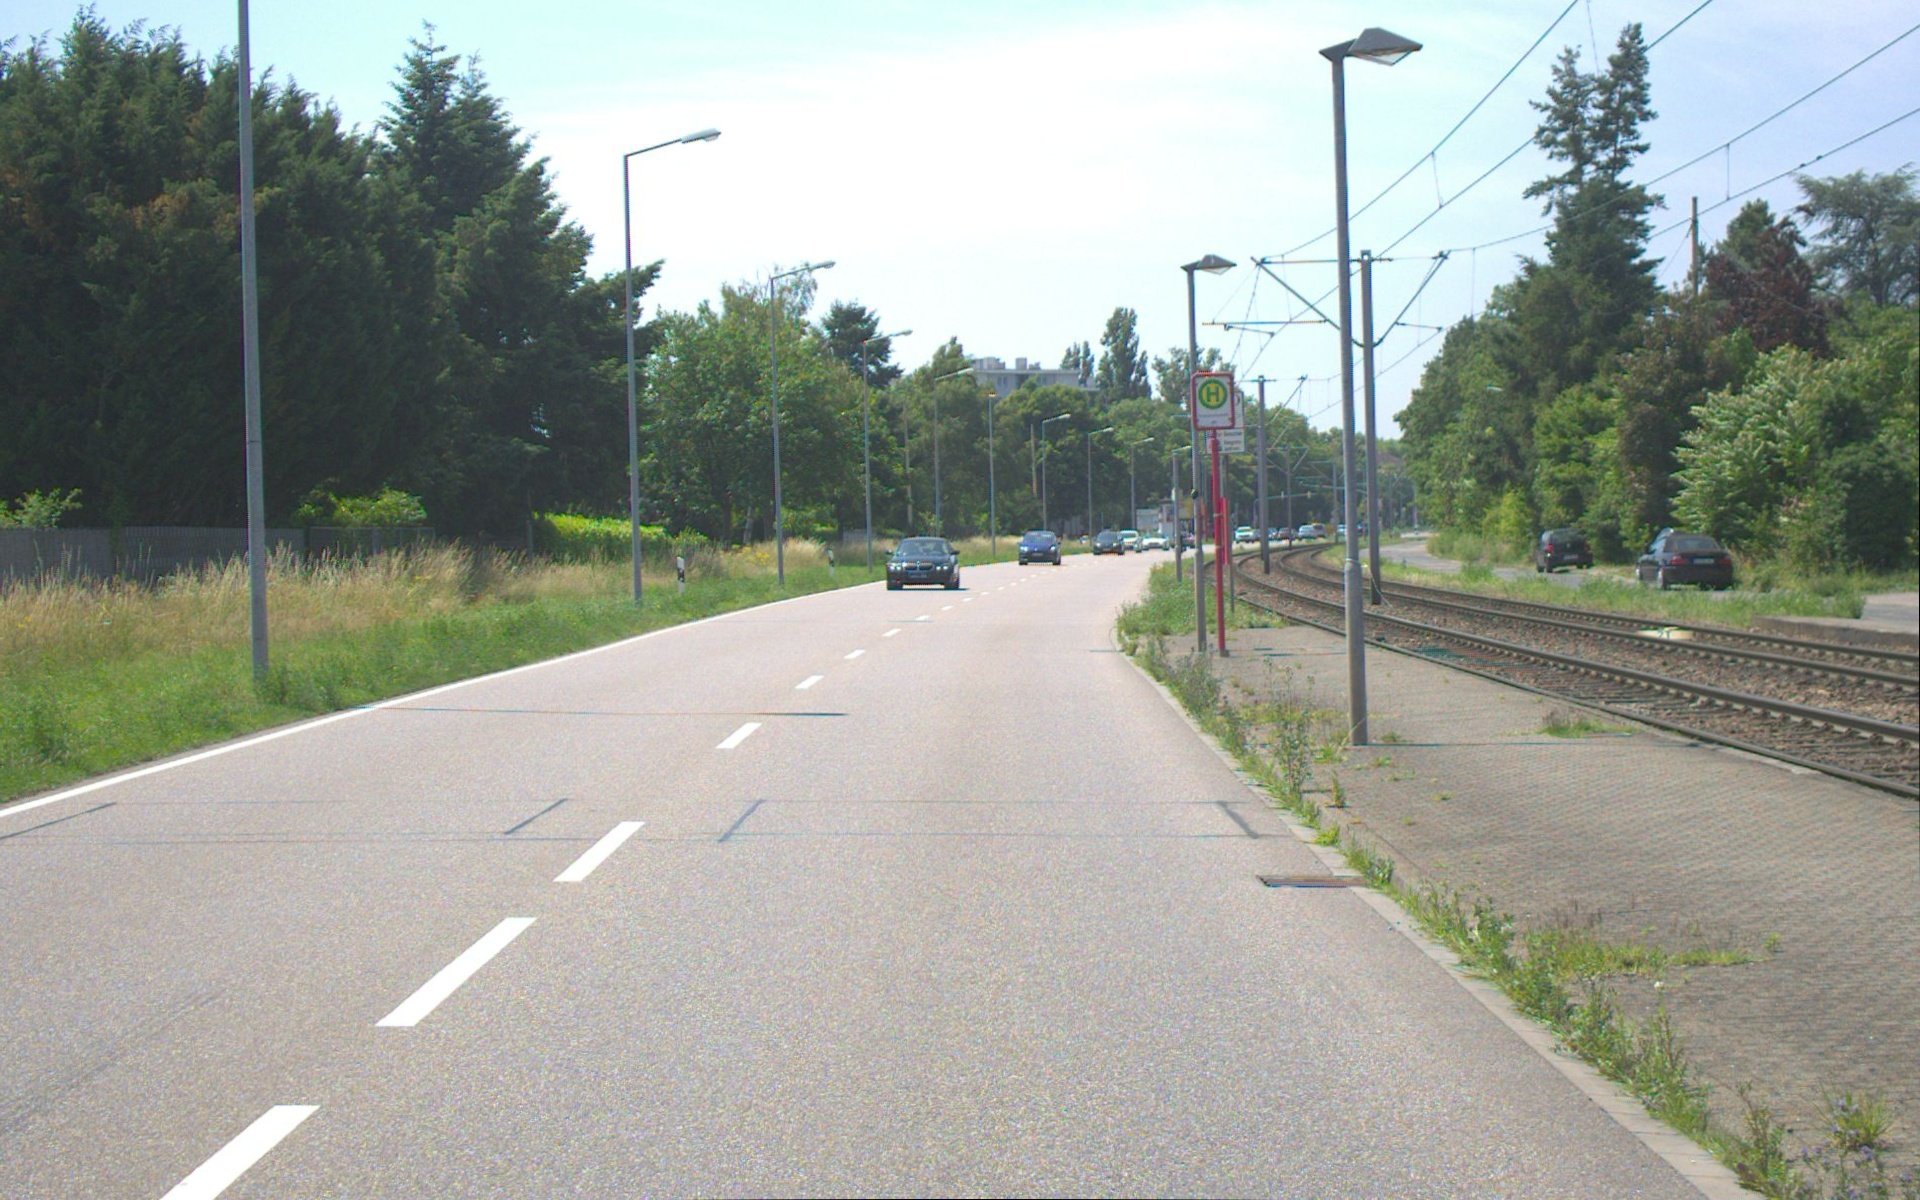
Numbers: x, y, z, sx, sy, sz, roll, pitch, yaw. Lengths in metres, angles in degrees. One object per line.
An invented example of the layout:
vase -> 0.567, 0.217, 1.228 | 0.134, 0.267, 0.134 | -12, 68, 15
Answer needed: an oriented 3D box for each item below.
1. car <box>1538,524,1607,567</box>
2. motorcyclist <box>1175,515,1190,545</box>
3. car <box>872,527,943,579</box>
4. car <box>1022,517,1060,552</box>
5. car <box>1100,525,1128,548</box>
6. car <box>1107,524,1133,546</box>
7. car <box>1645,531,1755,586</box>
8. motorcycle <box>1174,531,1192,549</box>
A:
car -> 21.099, -1.887, 118.581 | 1.914, 1.465, 4.000 | 0, 1, 4
motorcyclist -> 14.390, -4.513, 222.059 | 0.892, 1.898, 1.015 | 0, 1, 8
car -> -1.436, -1.320, 95.195 | 1.706, 1.399, 4.707 | 0, 1, 2
car -> 3.874, -3.122, 164.128 | 1.747, 1.626, 4.029 | 0, 1, 3
car -> 9.803, -4.032, 219.054 | 1.700, 1.486, 4.440 | 0, 1, 4
car -> 10.958, -4.440, 235.399 | 1.747, 1.498, 3.707 | 0, 1, 4
car -> 18.376, -1.034, 85.541 | 1.861, 1.325, 4.515 | 0, 1, 1
motorcycle -> 14.407, -3.878, 221.763 | 0.970, 1.113, 2.732 | 0, 1, 8
